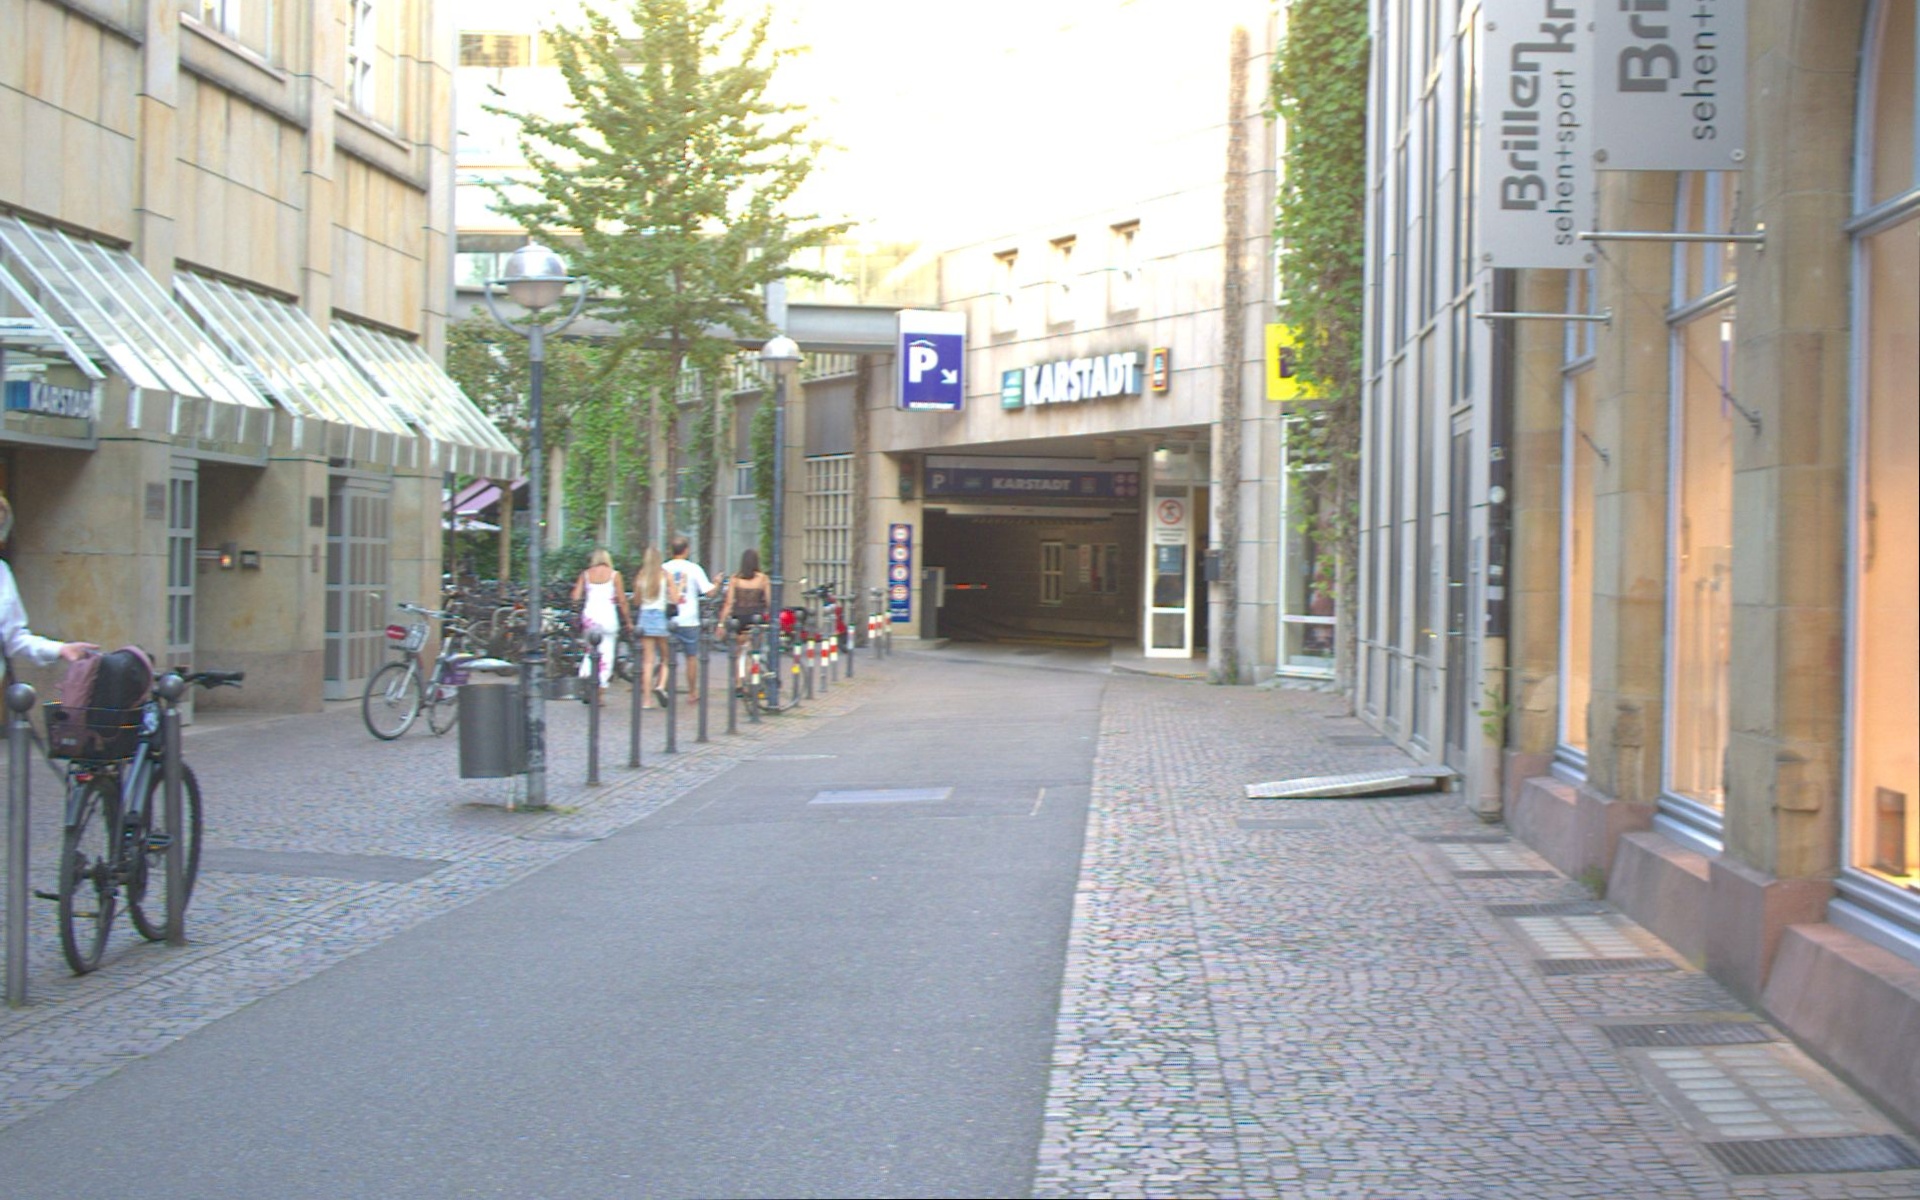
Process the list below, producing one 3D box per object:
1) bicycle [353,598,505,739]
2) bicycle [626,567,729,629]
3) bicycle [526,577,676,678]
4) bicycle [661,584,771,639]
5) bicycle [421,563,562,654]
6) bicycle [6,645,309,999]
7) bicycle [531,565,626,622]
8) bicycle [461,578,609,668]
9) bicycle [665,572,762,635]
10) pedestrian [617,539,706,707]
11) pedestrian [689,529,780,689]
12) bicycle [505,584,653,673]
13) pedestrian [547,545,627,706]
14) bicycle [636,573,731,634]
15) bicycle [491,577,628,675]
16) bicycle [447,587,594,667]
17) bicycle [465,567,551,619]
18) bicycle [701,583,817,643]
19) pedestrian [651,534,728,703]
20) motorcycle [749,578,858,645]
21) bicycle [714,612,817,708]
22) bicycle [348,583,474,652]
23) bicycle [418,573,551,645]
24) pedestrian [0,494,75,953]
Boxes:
[{"bbox_3d":[-4.503,0.567,29.276,0.522,1.134,1.763,1,1,19],"label":"bicycle"},{"bbox_3d":[-5.074,-0.036,61.722,1.773,1.110,0.543,0,1,-18],"label":"bicycle"},{"bbox_3d":[-4.436,0.335,42.543,1.766,1.226,0.534,0,1,-20],"label":"bicycle"},{"bbox_3d":[-4.057,0.194,57.176,1.773,0.901,0.464,0,1,-18],"label":"bicycle"},{"bbox_3d":[-6.403,0.113,46.962,1.833,1.221,0.534,0,1,-20],"label":"bicycle"},{"bbox_3d":[-2.971,0.784,12.896,0.533,1.150,1.914,2,1,4],"label":"bicycle"},{"bbox_3d":[-7.484,-0.123,67.398,1.773,1.110,0.543,0,1,-18],"label":"bicycle"},{"bbox_3d":[-5.650,0.294,45.725,1.872,1.173,0.534,0,1,-20],"label":"bicycle"},{"bbox_3d":[-4.167,0.054,58.131,1.539,1.045,0.575,0,1,-18],"label":"bicycle"},{"bbox_3d":[-3.124,0.234,36.045,0.806,1.723,0.948,1,1,1],"label":"pedestrian"},{"bbox_3d":[-2.554,0.090,39.088,0.785,1.789,0.971,1,1,13],"label":"pedestrian"},{"bbox_3d":[-4.956,0.364,44.740,1.836,1.118,0.534,0,1,-20],"label":"bicycle"},{"bbox_3d":[-3.918,0.261,36.151,0.675,1.659,0.860,1,1,4],"label":"pedestrian"},{"bbox_3d":[-4.763,0.059,59.136,1.539,1.045,0.575,0,1,-18],"label":"bicycle"},{"bbox_3d":[-5.105,0.321,43.853,1.653,1.226,0.534,0,1,-20],"label":"bicycle"},{"bbox_3d":[-5.910,0.354,46.268,1.893,1.048,0.534,0,1,-20],"label":"bicycle"},{"bbox_3d":[-9.636,-0.154,73.276,1.773,1.110,0.543,0,1,-15],"label":"bicycle"},{"bbox_3d":[-3.291,0.207,56.290,1.847,0.979,0.464,0,1,-18],"label":"bicycle"},{"bbox_3d":[-2.947,0.194,37.496,0.742,1.816,0.878,0,1,1],"label":"pedestrian"},{"bbox_3d":[-2.480,0.177,54.626,1.662,1.047,0.464,0,1,-18],"label":"motorcycle"},{"bbox_3d":[-2.027,0.616,35.986,0.493,0.935,1.658,2,1,17],"label":"bicycle"},{"bbox_3d":[-8.398,0.264,52.602,1.824,1.039,0.534,0,1,-20],"label":"bicycle"},{"bbox_3d":[-7.019,0.133,50.778,1.876,1.039,0.534,0,1,-20],"label":"bicycle"},{"bbox_3d":[-3.888,0.444,13.165,0.768,1.712,0.592,2,1,2],"label":"pedestrian"}]
